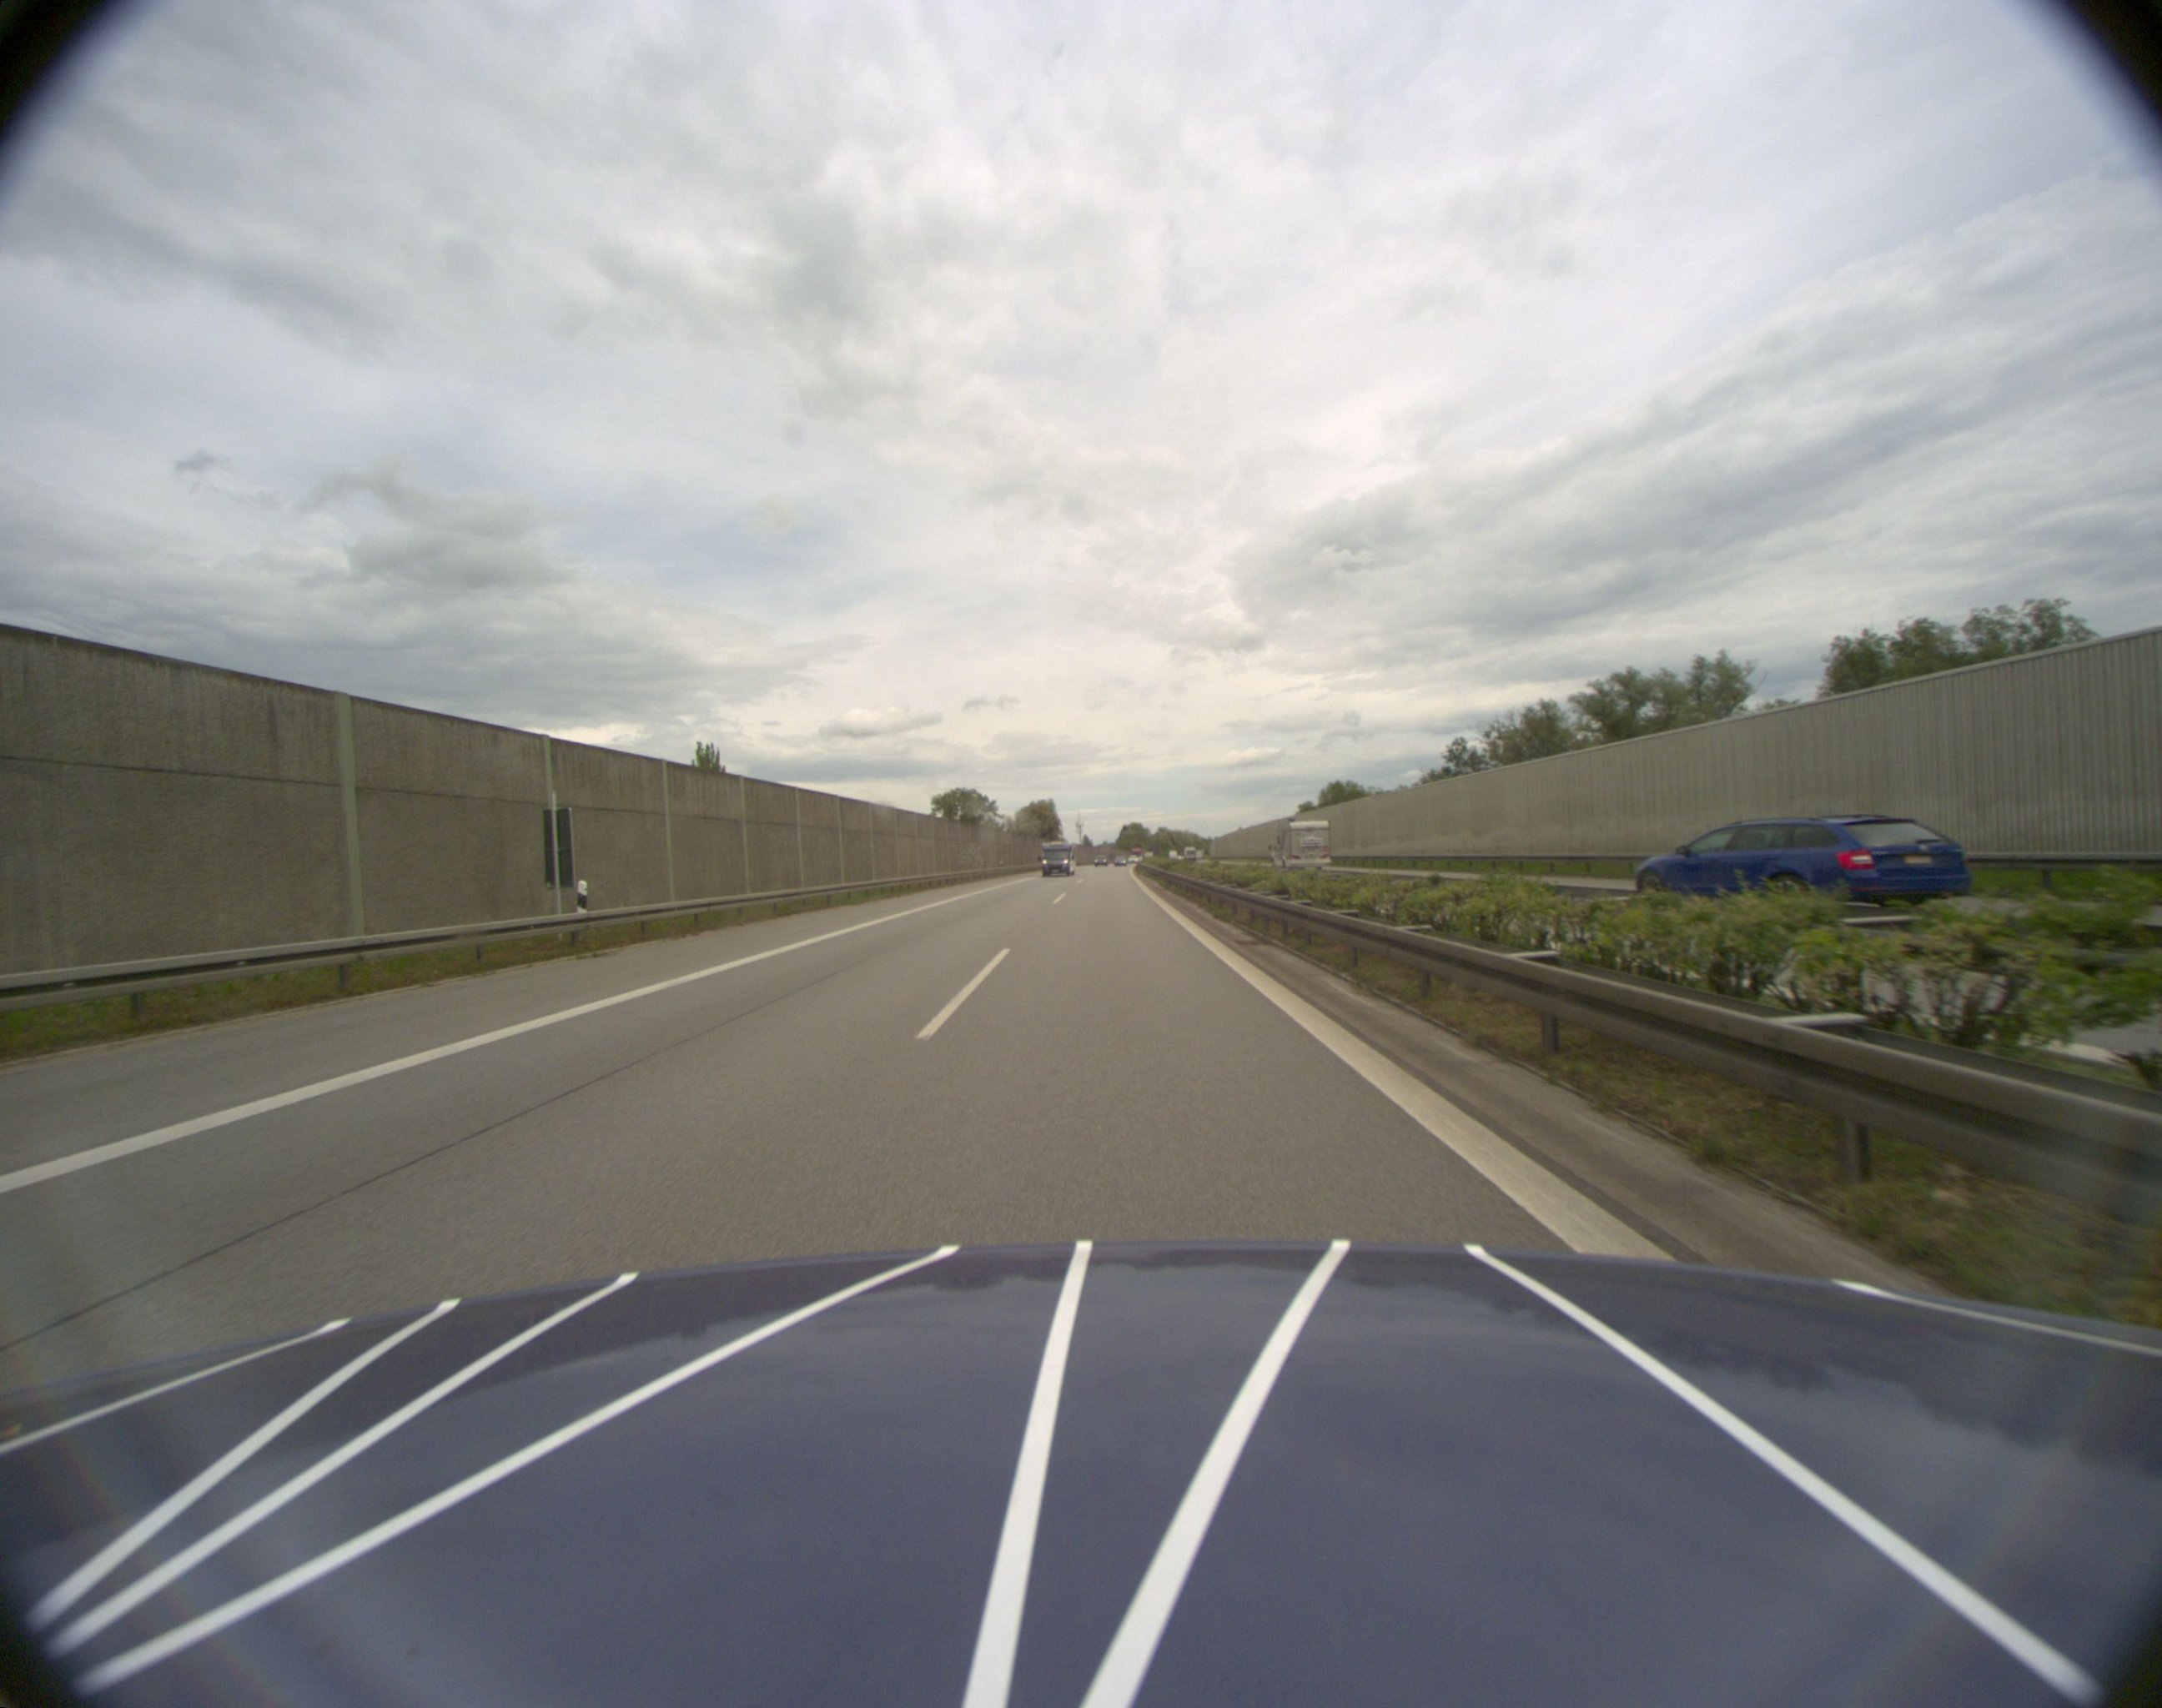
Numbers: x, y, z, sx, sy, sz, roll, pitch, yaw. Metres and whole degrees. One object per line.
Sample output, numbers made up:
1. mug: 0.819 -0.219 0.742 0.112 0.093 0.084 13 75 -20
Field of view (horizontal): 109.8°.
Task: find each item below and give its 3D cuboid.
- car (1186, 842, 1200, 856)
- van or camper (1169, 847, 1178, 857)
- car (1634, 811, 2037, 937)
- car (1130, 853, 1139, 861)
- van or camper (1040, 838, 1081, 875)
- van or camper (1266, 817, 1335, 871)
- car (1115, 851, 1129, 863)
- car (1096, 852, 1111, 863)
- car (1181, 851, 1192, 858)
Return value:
1. car: 20.308 -0.850 138.048 2.116 2.441 5.685 -1 0 4
2. van or camper: 23.964 -0.502 196.575 1.998 2.427 6.310 -1 0 4
3. car: 11.168 0.241 11.851 1.816 1.538 4.516 -2 0 1
4. car: 10.921 0.618 155.098 1.889 1.608 4.002 -1 0 5
5. van or camper: -1.535 0.193 60.020 2.435 2.680 7.227 -2 0 4
6. van or camper: 12.126 -0.529 42.447 2.260 2.763 5.755 -2 0 1
7. car: 6.061 0.446 112.507 1.888 1.608 4.002 -1 0 6
8. car: 3.468 0.565 116.106 1.888 1.608 4.002 -1 0 7
9. car: 22.026 0.099 158.954 1.868 1.395 4.501 -1 0 4
